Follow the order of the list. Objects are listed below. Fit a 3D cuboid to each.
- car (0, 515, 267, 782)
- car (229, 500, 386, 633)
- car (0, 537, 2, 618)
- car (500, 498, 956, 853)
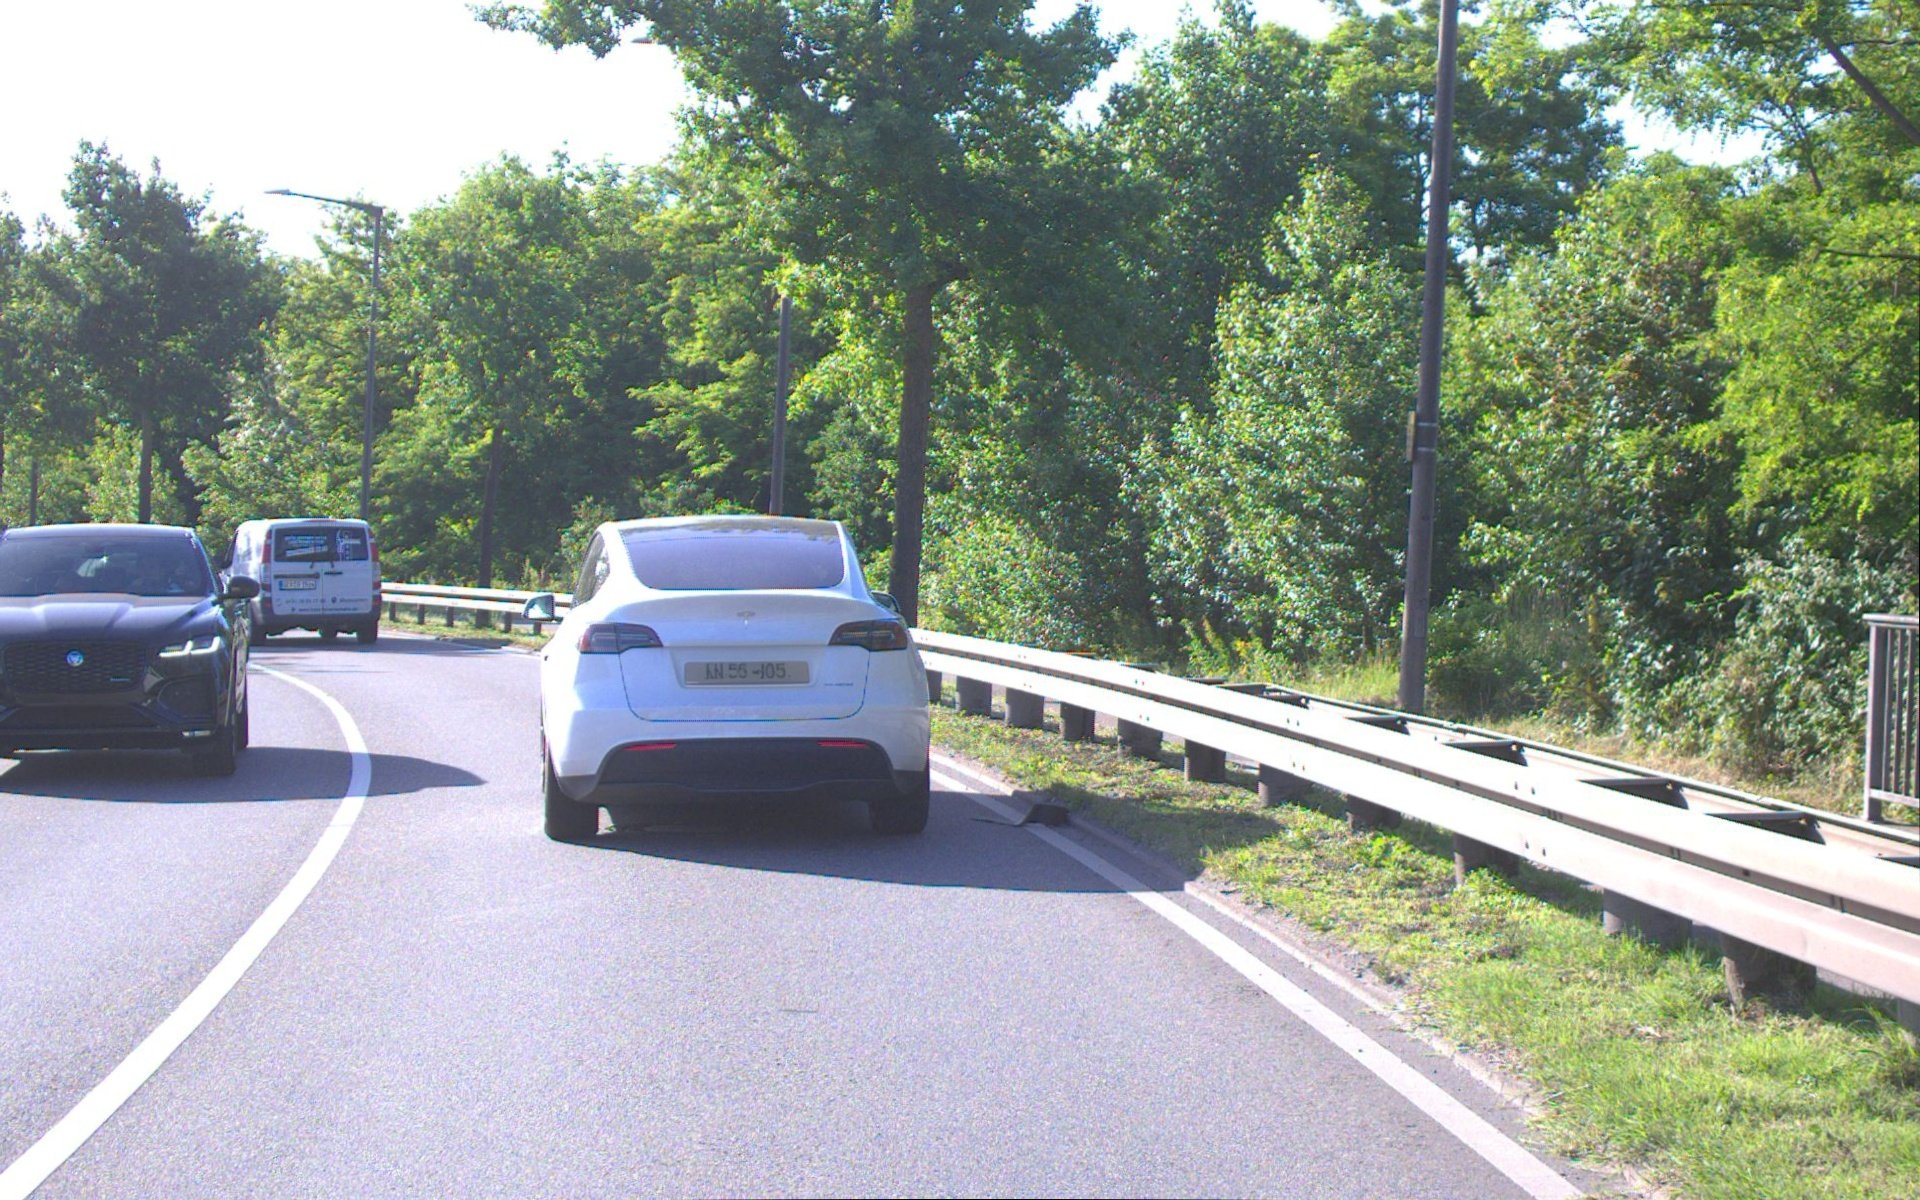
[{"bbox_3d":[-5.816,0.242,23.403,1.898,1.637,4.465,0,1,-8],"label":"car"},{"bbox_3d":[-9.950,-0.550,52.201,2.004,1.934,4.469,0,1,-15],"label":"car"},{"bbox_3d":[-18.386,-0.433,61.694,1.792,1.426,3.827,-1,2,-23],"label":"car"},{"bbox_3d":[-1.352,0.307,18.222,1.985,1.632,4.064,-1,1,-10],"label":"car"}]
